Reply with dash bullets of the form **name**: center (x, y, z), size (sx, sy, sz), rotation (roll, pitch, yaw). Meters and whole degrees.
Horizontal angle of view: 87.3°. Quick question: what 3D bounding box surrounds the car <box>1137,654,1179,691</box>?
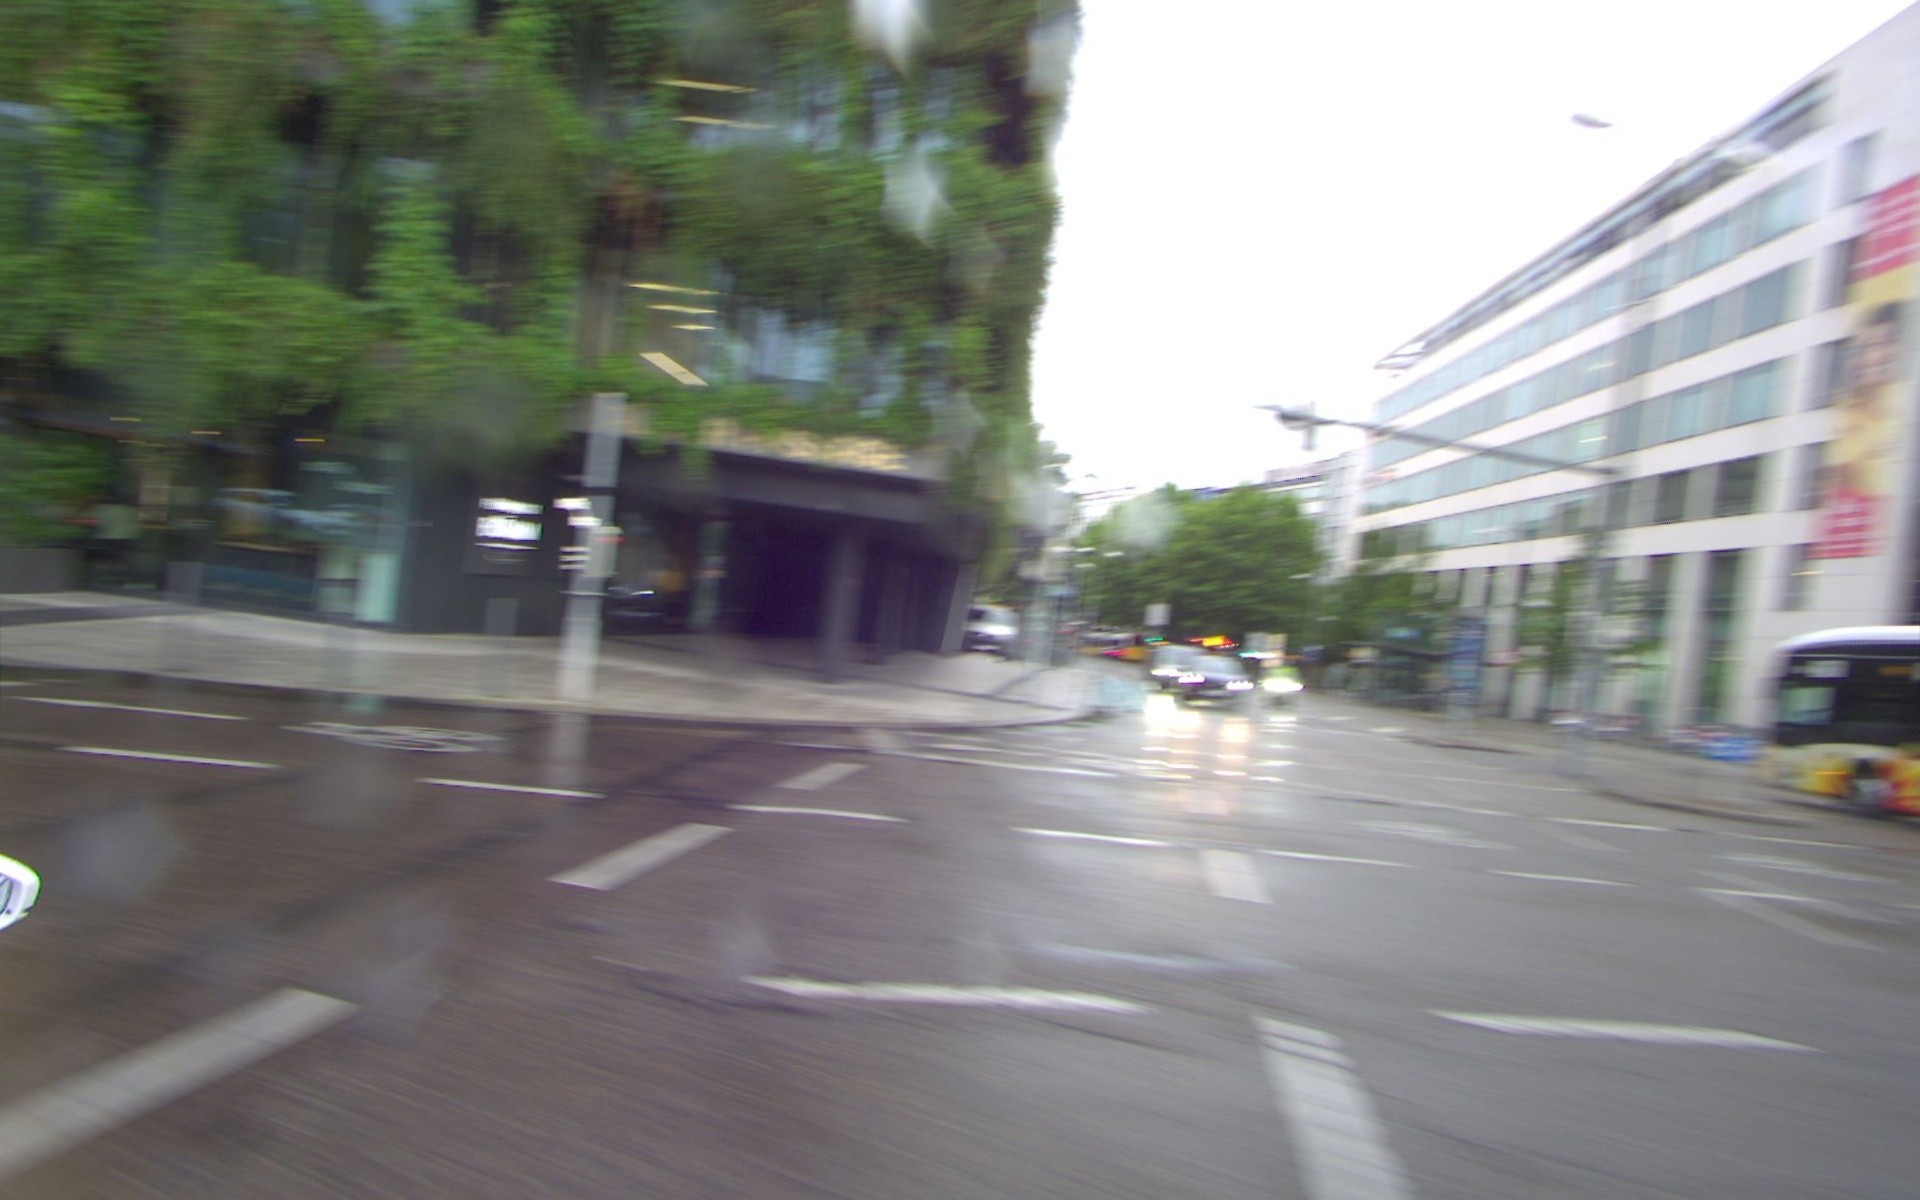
- **car**: center (10.600, 3.884, 54.146), size (1.793, 1.654, 4.504), rotation (7, -3, 8)

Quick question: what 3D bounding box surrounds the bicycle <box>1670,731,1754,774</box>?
- **bicycle**: center (25.988, 5.269, 34.783), size (2.304, 1.111, 0.490), rotation (7, 0, 5)

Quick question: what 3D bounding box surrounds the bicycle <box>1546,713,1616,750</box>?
- **bicycle**: center (24.966, 5.285, 40.462), size (2.304, 1.111, 0.490), rotation (7, 0, 5)

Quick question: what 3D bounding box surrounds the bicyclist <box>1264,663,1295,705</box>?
- **bicyclist**: center (11.143, 2.913, 35.078), size (0.781, 1.352, 0.744), rotation (6, -1, 9)

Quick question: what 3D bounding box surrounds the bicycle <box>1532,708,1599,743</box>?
- **bicycle**: center (25.251, 5.248, 41.953), size (2.304, 1.111, 0.490), rotation (7, 0, 5)

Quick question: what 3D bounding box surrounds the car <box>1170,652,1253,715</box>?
- **car**: center (7.455, 2.466, 30.171), size (1.793, 1.516, 4.209), rotation (7, -3, 8)

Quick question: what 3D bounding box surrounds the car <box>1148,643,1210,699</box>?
- **car**: center (8.320, 2.698, 38.592), size (1.793, 1.778, 4.783), rotation (7, -3, 8)

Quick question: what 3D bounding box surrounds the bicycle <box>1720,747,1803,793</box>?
- **bicycle**: center (25.722, 5.434, 32.309), size (1.964, 1.111, 0.490), rotation (7, -1, 18)

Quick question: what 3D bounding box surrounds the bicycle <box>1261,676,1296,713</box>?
- **bicycle**: center (11.116, 3.294, 35.187), size (0.793, 1.149, 2.094), rotation (7, -2, 10)

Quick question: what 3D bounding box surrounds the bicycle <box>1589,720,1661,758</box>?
- **bicycle**: center (25.931, 5.416, 39.233), size (2.304, 1.111, 0.490), rotation (7, 0, 5)

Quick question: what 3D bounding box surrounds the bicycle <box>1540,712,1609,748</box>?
- **bicycle**: center (25.015, 5.293, 40.976), size (2.304, 1.111, 0.490), rotation (7, 0, 5)

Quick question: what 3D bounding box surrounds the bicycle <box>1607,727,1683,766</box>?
- **bicycle**: center (25.632, 5.467, 37.644), size (2.304, 1.111, 0.490), rotation (7, 0, 5)

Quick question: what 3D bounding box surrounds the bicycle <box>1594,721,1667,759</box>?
- **bicycle**: center (25.723, 5.364, 38.615), size (2.304, 1.111, 0.490), rotation (7, 0, 5)

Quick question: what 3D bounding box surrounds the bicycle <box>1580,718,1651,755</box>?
- **bicycle**: center (25.936, 5.387, 39.836), size (2.304, 1.111, 0.490), rotation (7, 0, 5)

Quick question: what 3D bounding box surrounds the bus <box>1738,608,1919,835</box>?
- **bus**: center (16.629, 2.036, 14.838), size (2.636, 3.630, 10.332), rotation (7, -2, 5)

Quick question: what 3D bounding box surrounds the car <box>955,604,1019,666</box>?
- **car**: center (0.957, 1.324, 38.962), size (2.080, 1.979, 4.871), rotation (7, -1, -1)

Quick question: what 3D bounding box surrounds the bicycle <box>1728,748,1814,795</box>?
- **bicycle**: center (25.590, 5.401, 31.770), size (1.967, 1.111, 0.490), rotation (7, -1, 18)
